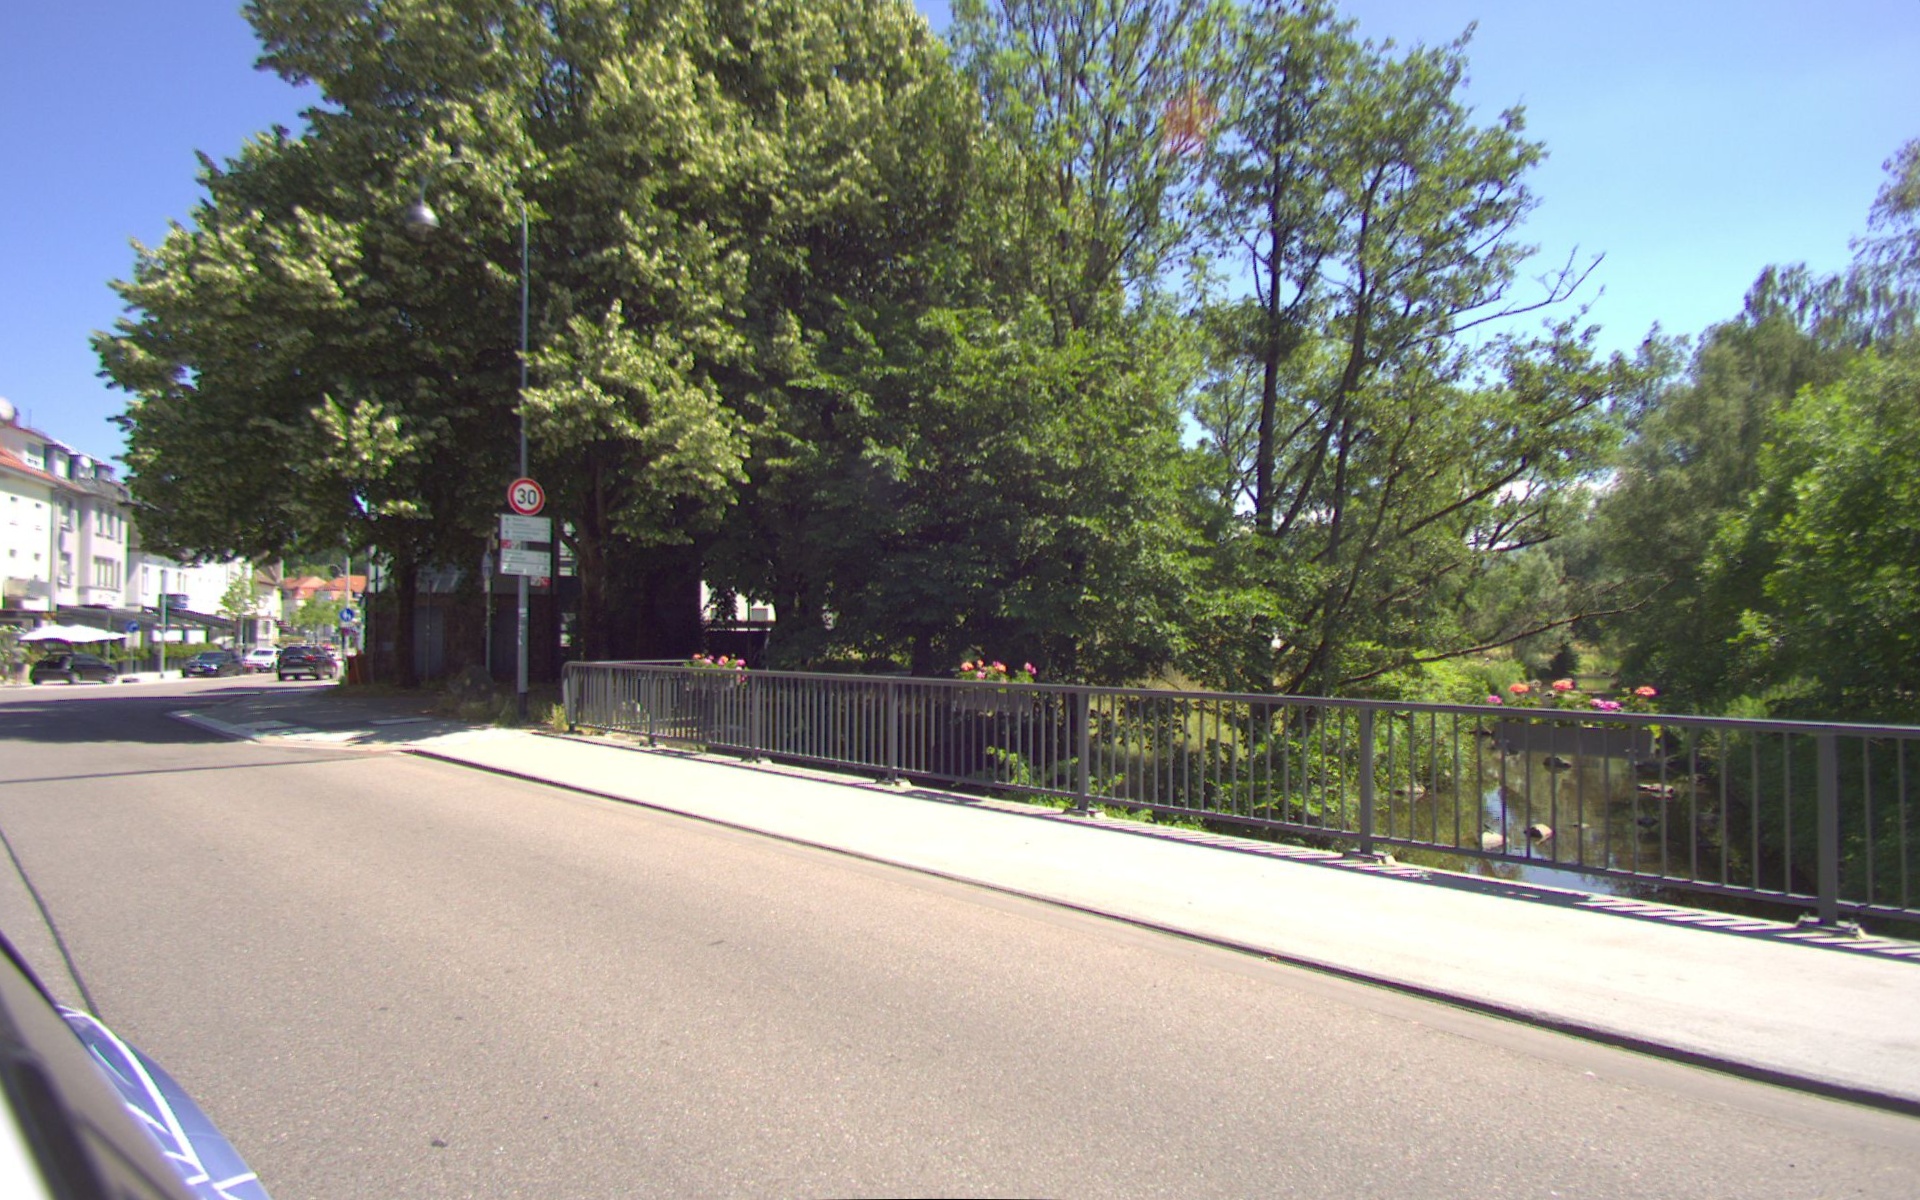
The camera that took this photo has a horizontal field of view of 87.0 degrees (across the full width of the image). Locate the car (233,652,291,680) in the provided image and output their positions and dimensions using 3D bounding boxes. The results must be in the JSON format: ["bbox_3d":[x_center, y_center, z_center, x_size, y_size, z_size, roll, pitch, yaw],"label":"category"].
[{"bbox_3d":[-44.253,4.142,64.288,1.965,1.697,4.012,1,-3,-19],"label":"car"}]

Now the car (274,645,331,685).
[{"bbox_3d":[-31.902,3.151,49.224,1.965,1.855,4.012,1,-4,-28],"label":"car"}]

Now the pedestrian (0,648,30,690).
[{"bbox_3d":[-41.125,2.994,43.972,0.802,1.768,0.637,3,-2,-26],"label":"pedestrian"}]

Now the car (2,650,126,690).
[{"bbox_3d":[-40.242,3.163,45.589,1.972,1.729,3.999,0,-4,0],"label":"car"}]

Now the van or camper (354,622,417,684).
[{"bbox_3d":[-28.899,2.594,51.068,1.965,2.826,5.054,-2,0,-22],"label":"van or camper"}]

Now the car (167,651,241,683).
[{"bbox_3d":[-42.138,3.770,56.526,1.966,1.729,4.011,1,-4,-16],"label":"car"}]
